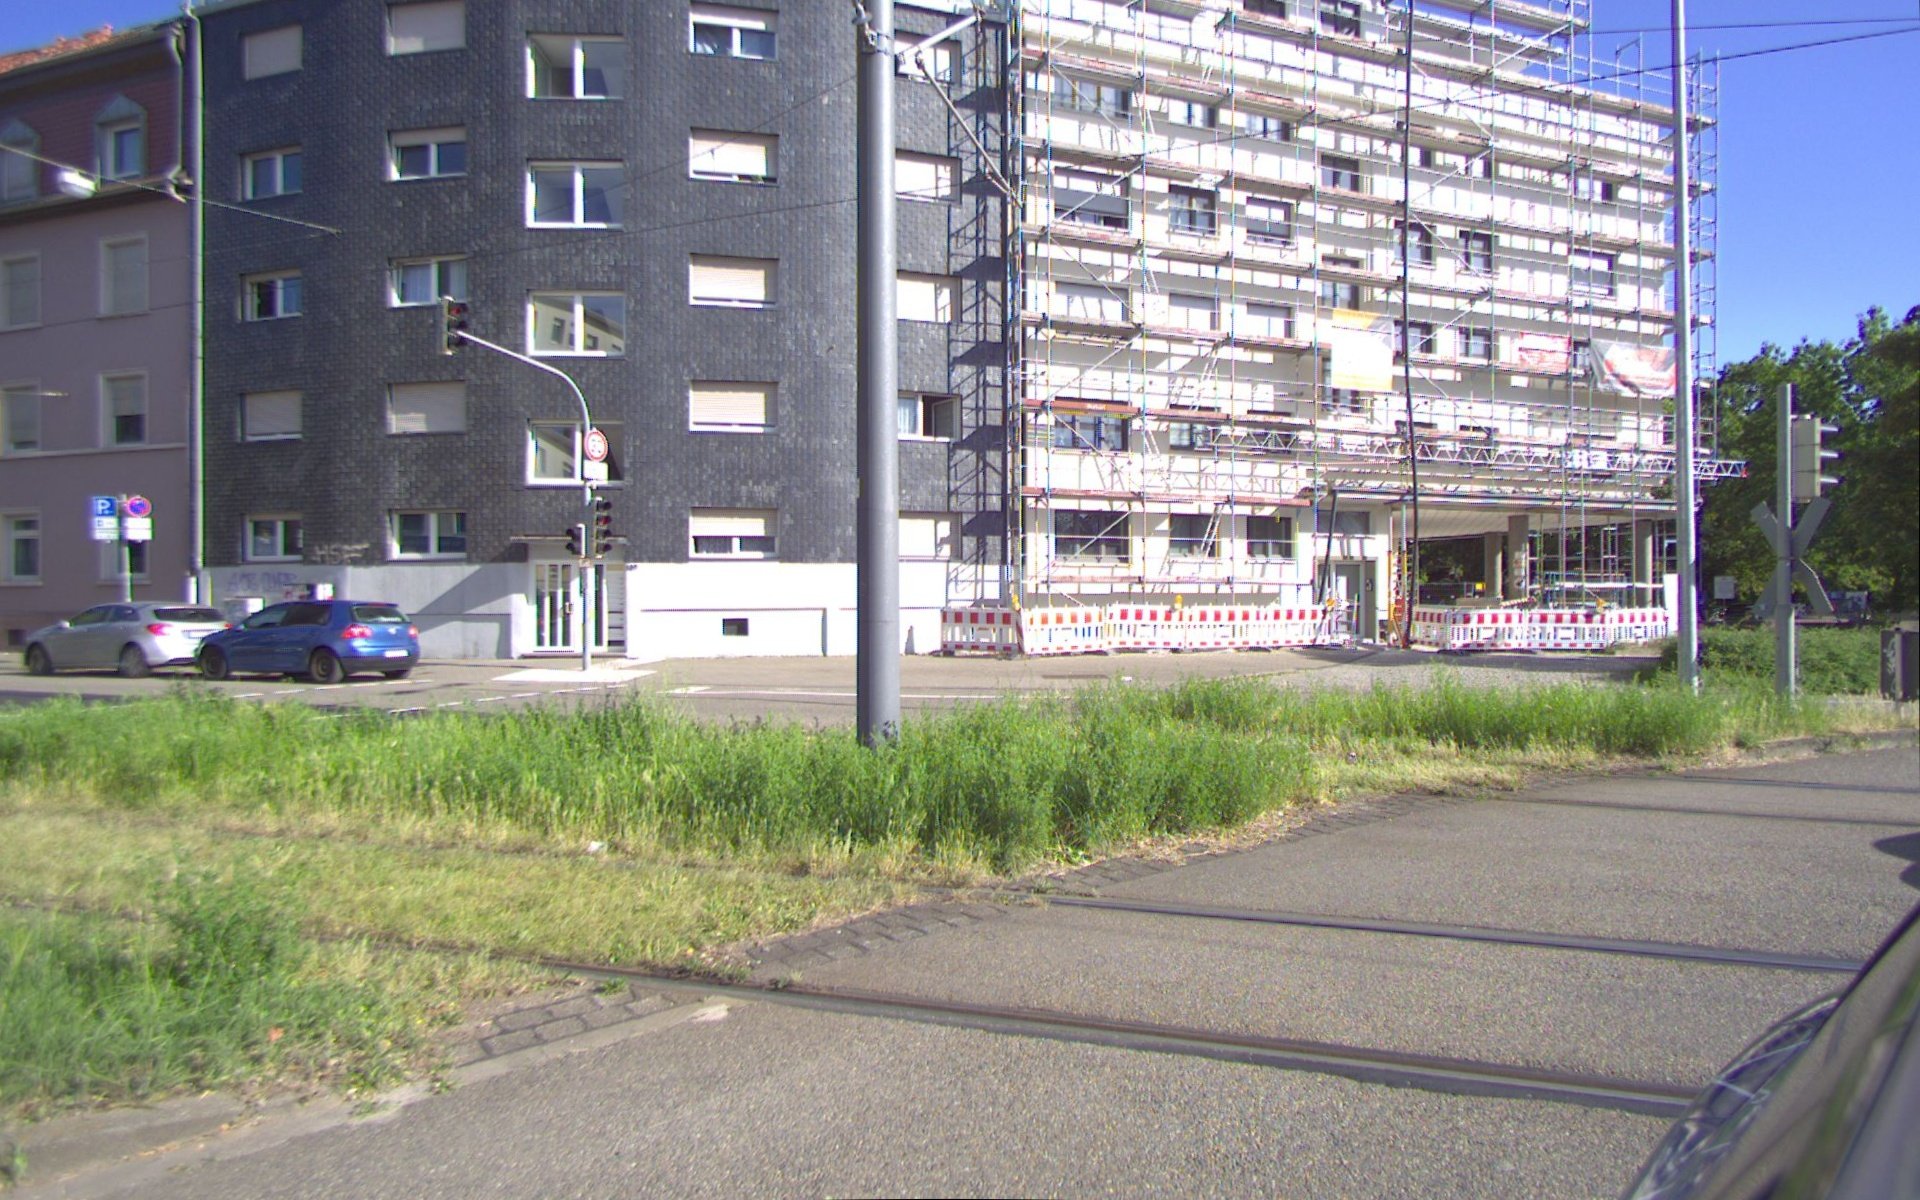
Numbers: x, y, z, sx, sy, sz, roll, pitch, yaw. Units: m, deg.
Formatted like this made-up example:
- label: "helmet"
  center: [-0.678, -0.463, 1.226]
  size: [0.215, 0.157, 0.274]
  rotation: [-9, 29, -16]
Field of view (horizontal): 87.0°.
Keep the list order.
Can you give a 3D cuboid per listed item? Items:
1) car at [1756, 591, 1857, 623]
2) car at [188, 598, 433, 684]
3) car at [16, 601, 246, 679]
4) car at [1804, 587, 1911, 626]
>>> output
- label: "car"
  center: [38.278, 0.287, 45.769]
  size: [3.607, 1.412, 1.826]
  rotation: [0, 0, -17]
- label: "car"
  center: [-11.834, 0.699, 18.468]
  size: [3.946, 1.433, 1.679]
  rotation: [0, 0, 18]
- label: "car"
  center: [-16.336, 0.739, 19.965]
  size: [3.946, 1.433, 1.679]
  rotation: [0, 0, 18]
- label: "car"
  center: [38.611, 0.274, 43.556]
  size: [3.607, 1.604, 1.826]
  rotation: [0, 0, -17]
